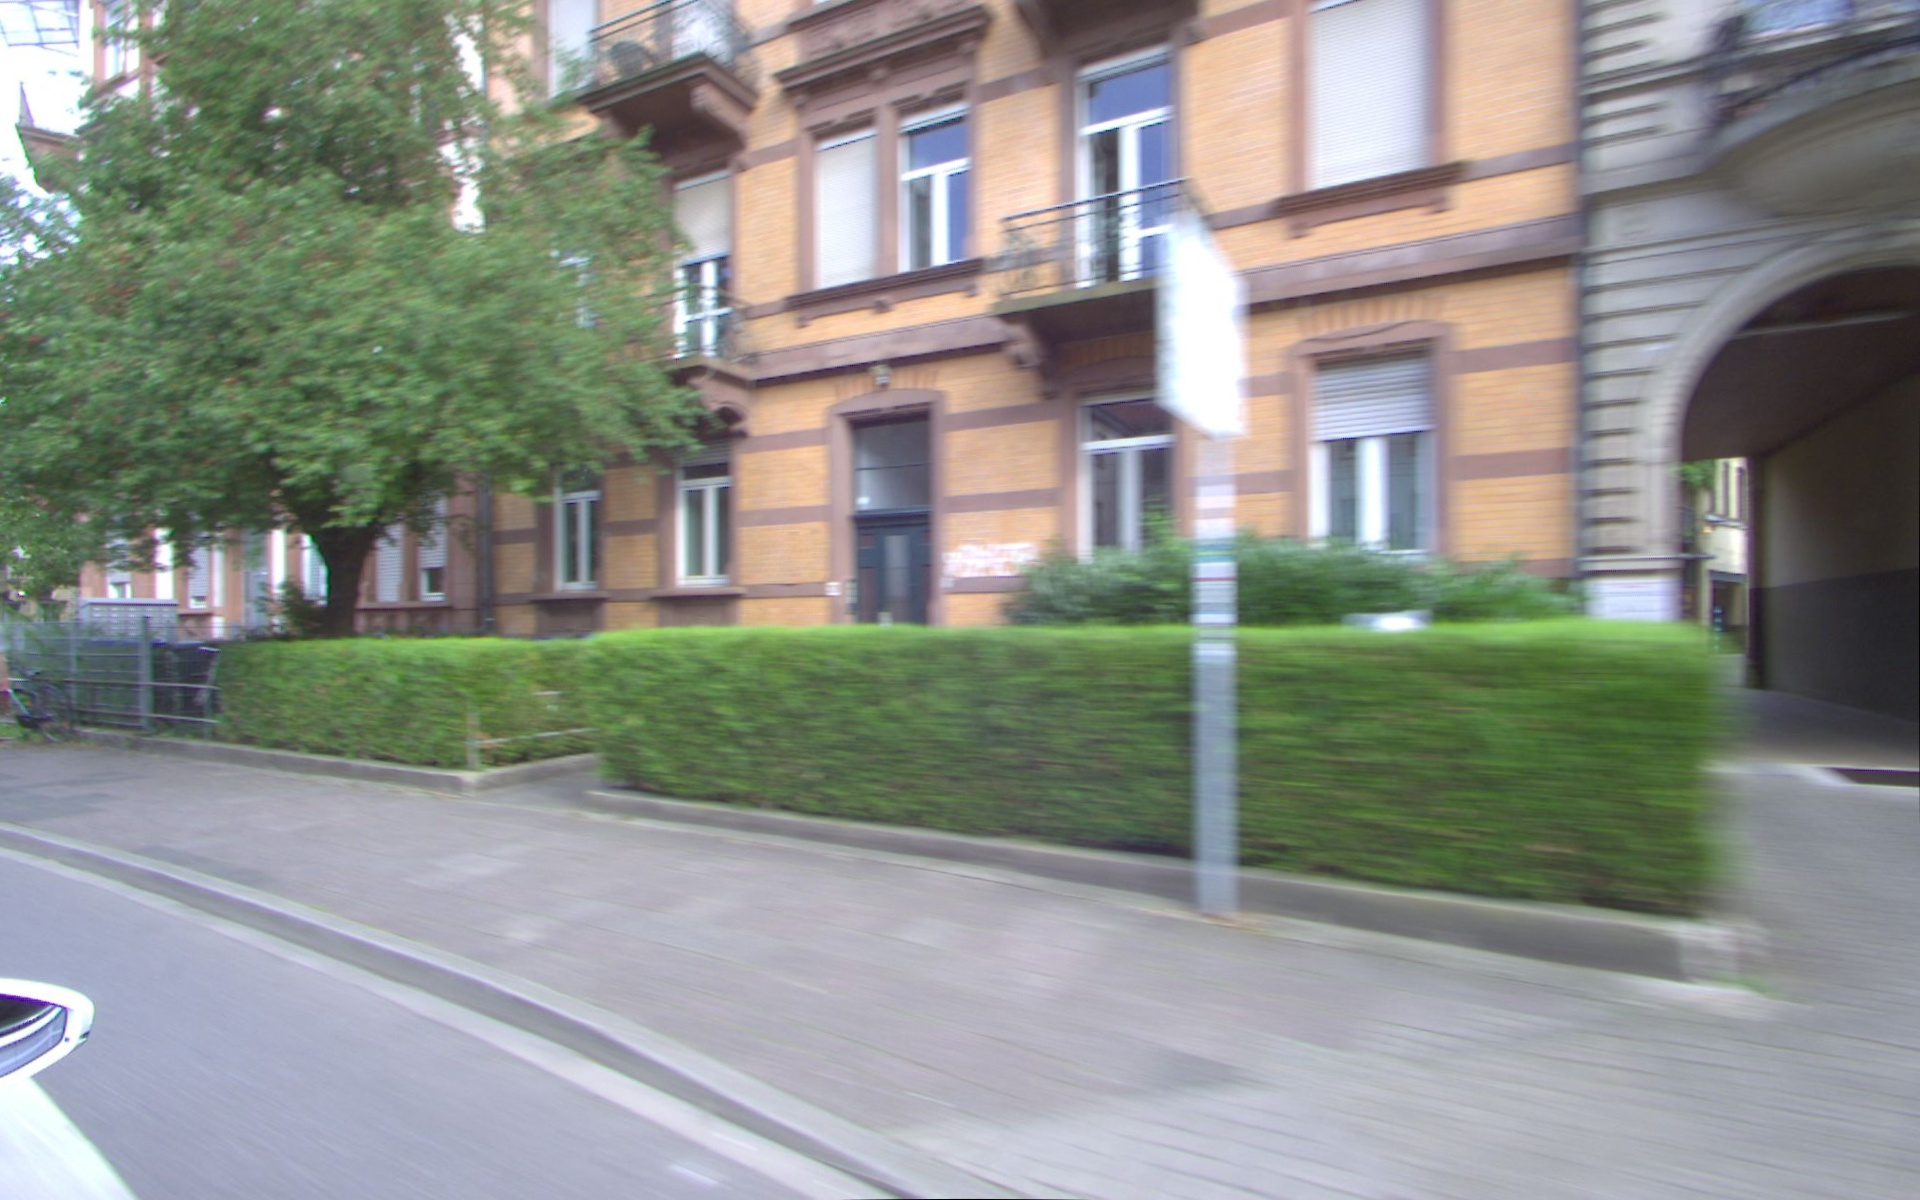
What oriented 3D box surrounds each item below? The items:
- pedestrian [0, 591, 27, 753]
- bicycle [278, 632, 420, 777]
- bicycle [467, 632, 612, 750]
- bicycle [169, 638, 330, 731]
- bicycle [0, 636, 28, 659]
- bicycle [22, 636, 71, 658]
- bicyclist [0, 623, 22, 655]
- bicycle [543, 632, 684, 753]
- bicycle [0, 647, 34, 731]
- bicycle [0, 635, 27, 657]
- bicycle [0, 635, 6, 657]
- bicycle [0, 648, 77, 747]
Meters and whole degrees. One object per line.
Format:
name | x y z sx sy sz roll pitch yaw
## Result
pedestrian | -10.988 0.791 11.109 0.936 1.777 0.729 0 0 33
bicycle | -5.888 0.960 9.632 1.527 1.298 0.515 0 0 31
bicycle | -4.646 0.971 11.168 0.509 1.196 1.544 0 -1 26
bicycle | -8.598 0.992 12.179 0.502 1.022 1.544 0 -1 26
bicycle | -45.870 2.297 48.205 1.788 1.091 0.616 0 0 16
bicycle | -48.681 2.504 53.381 0.524 1.142 1.888 0 -1 24
bicyclist | -45.811 1.863 48.179 0.898 1.492 0.616 0 0 16
bicycle | -3.735 0.960 10.920 0.509 1.196 1.544 0 -1 26
bicycle | -13.684 1.225 13.945 1.646 1.121 0.670 -1 0 29
bicycle | -51.341 2.481 53.748 0.571 1.142 1.893 0 -1 11
bicycle | -52.542 2.482 53.722 0.588 1.142 1.890 0 -1 20
bicycle | -11.533 1.169 12.285 1.526 1.103 0.508 0 3 29
